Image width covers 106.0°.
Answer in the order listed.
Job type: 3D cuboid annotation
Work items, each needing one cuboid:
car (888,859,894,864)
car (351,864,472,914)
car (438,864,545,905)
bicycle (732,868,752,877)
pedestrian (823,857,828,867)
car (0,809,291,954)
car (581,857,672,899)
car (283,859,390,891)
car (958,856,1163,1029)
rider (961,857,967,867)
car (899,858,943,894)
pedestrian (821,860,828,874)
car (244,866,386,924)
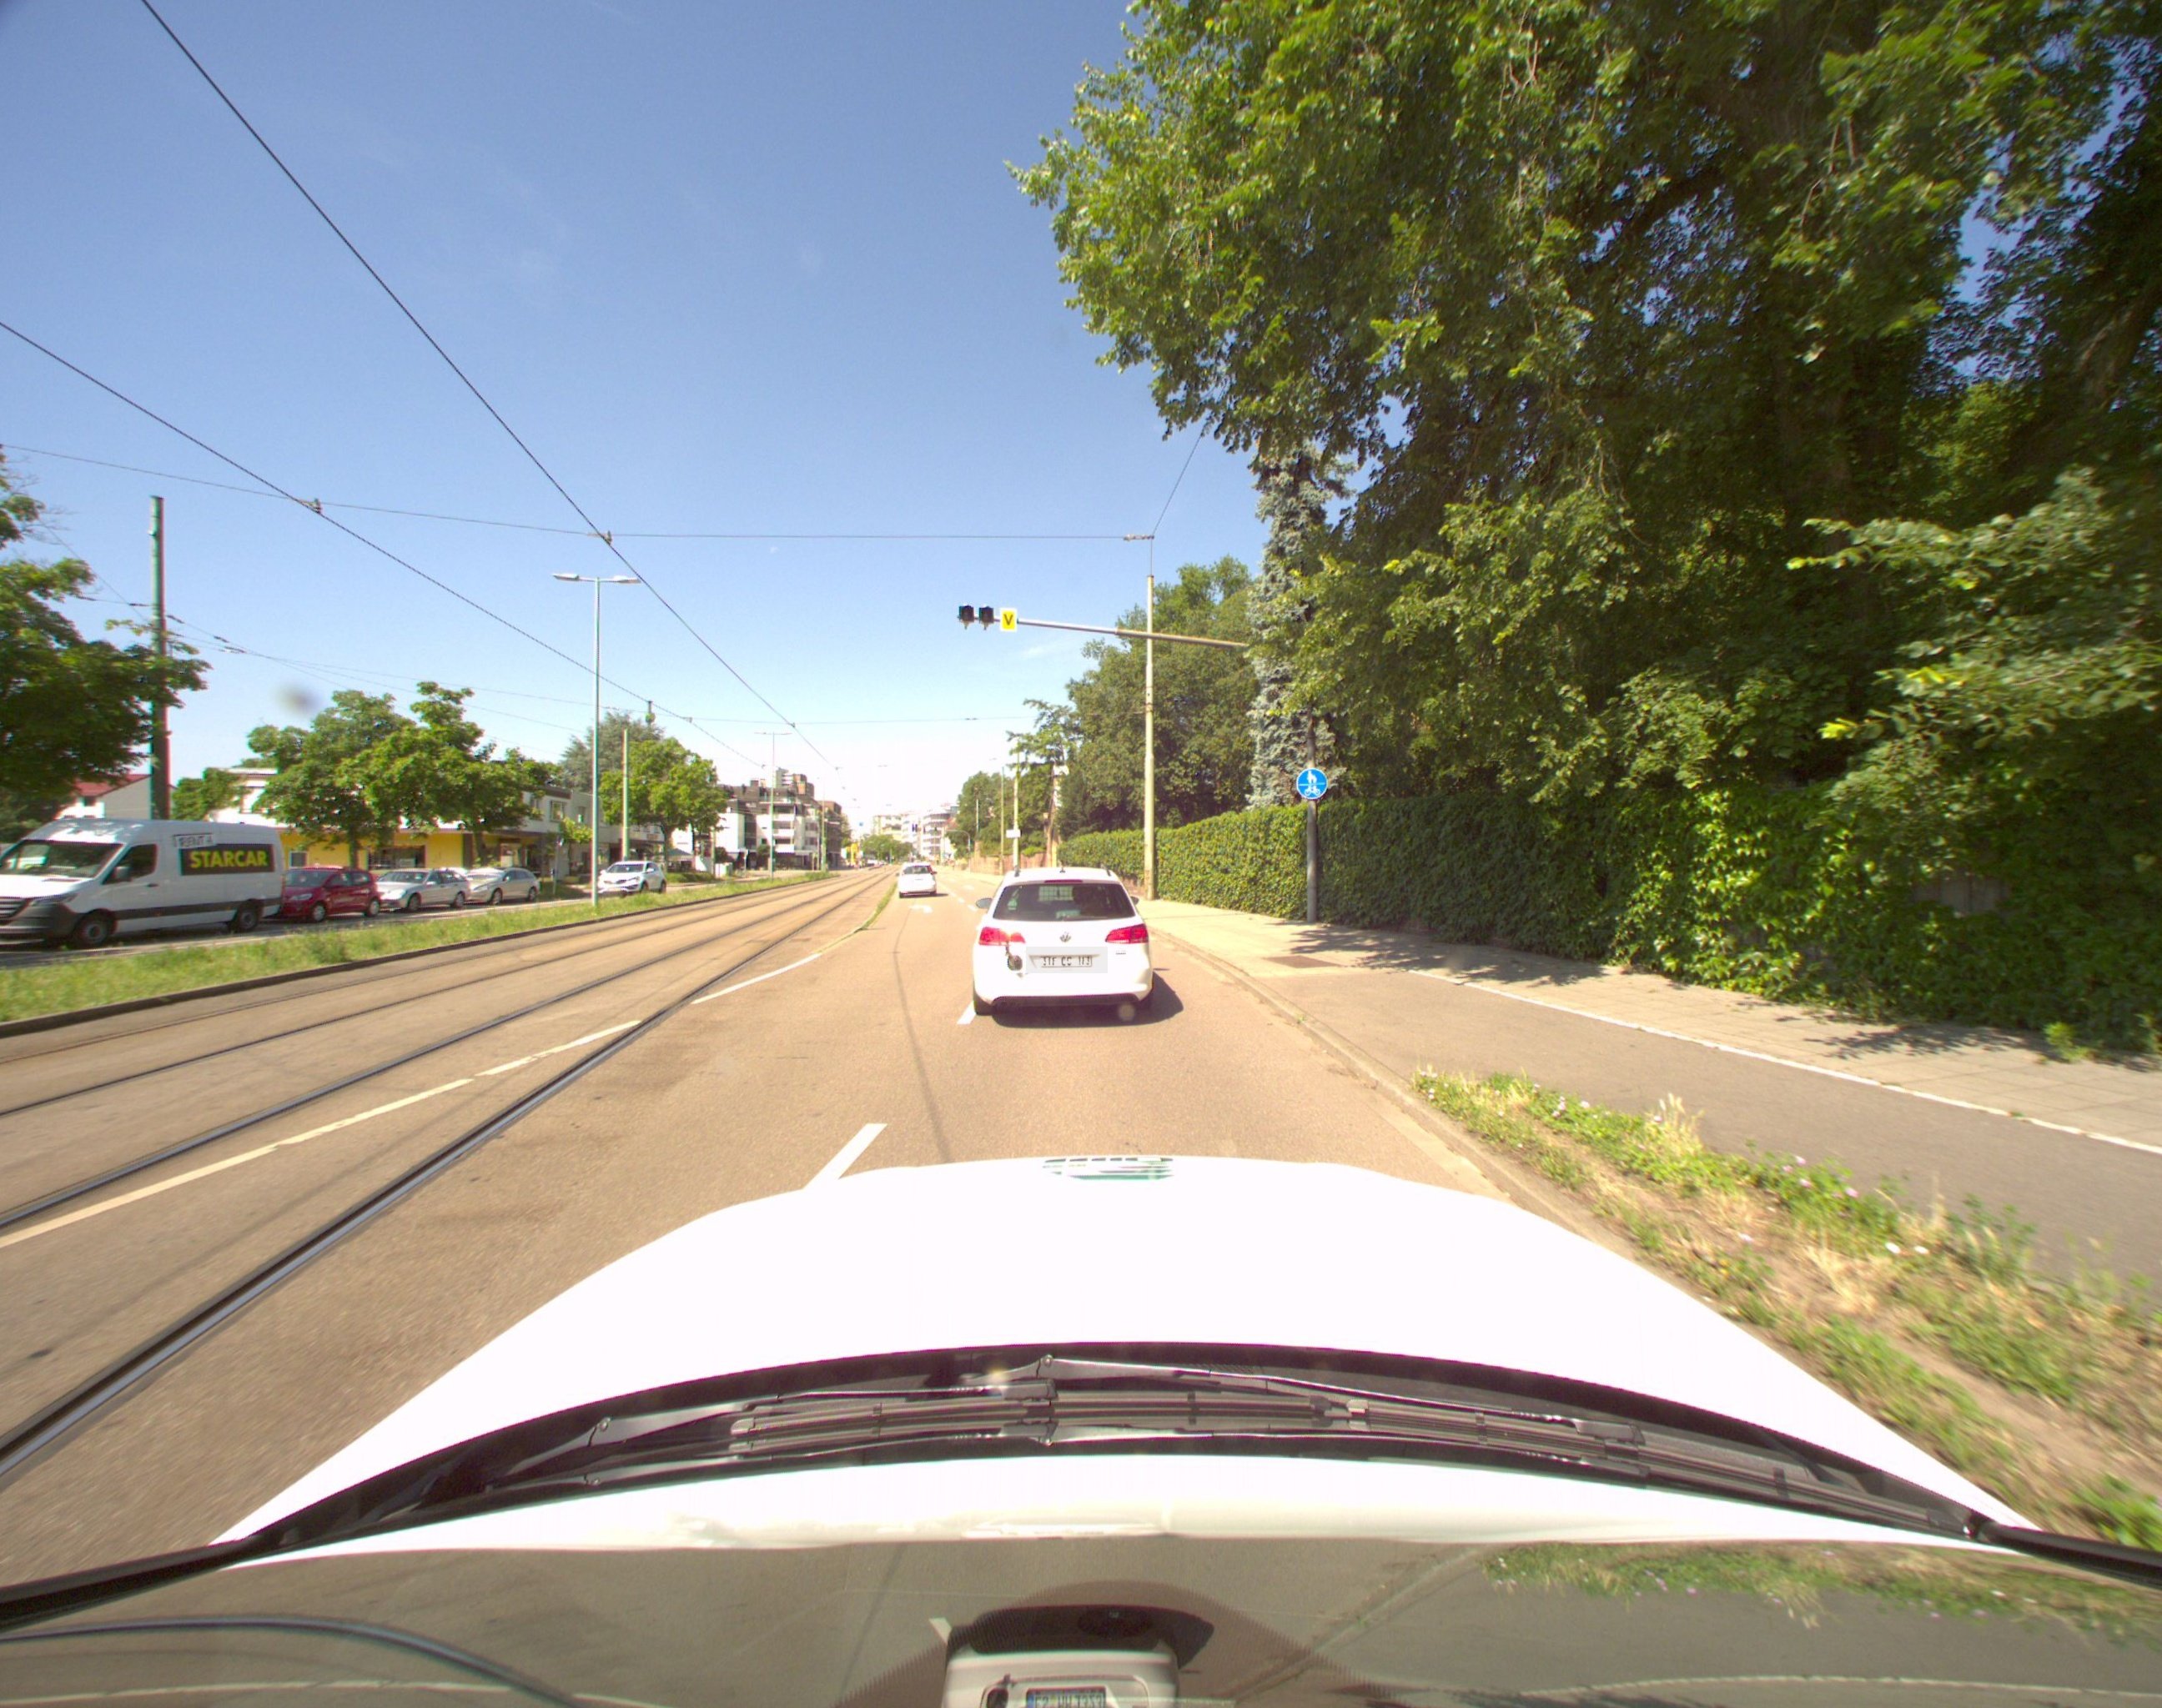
[{"bbox_3d":[-57.741,2.295,247.610,1.700,1.591,3.519,-1,0,-13],"label":"car"},{"bbox_3d":[-22.814,1.141,27.967,1.292,1.490,4.333,2,0,-12],"label":"car"},{"bbox_3d":[-23.791,1.186,33.090,1.604,1.490,4.601,1,0,-10],"label":"car"},{"bbox_3d":[-39.358,2.146,94.623,0.546,0.921,2.191,-1,-1,32],"label":"bicycle"},{"bbox_3d":[-50.288,1.541,160.525,0.939,2.013,0.985,-1,0,-18],"label":"pedestrian"},{"bbox_3d":[-20.618,0.489,17.556,2.197,2.631,5.955,2,0,-11],"label":"car"},{"bbox_3d":[-19.503,0.982,35.168,2.044,1.597,4.641,-2,0,-11],"label":"car"},{"bbox_3d":[-41.994,1.169,46.018,4.149,1.735,1.691,0,0,-12],"label":"car"},{"bbox_3d":[-0.171,0.778,9.049,1.773,1.490,3.846,-1,0,0],"label":"car"},{"bbox_3d":[-20.911,1.455,145.274,0.891,1.728,2.195,-1,0,-11],"label":"rider"},{"bbox_3d":[-7.432,0.980,38.046,1.729,1.596,4.000,-1,0,-7],"label":"car"},{"bbox_3d":[-30.846,1.540,97.912,0.829,1.739,0.926,-1,-1,-20],"label":"pedestrian"},{"bbox_3d":[-21.716,1.105,23.280,1.293,1.490,3.659,-1,0,-14],"label":"car"}]
